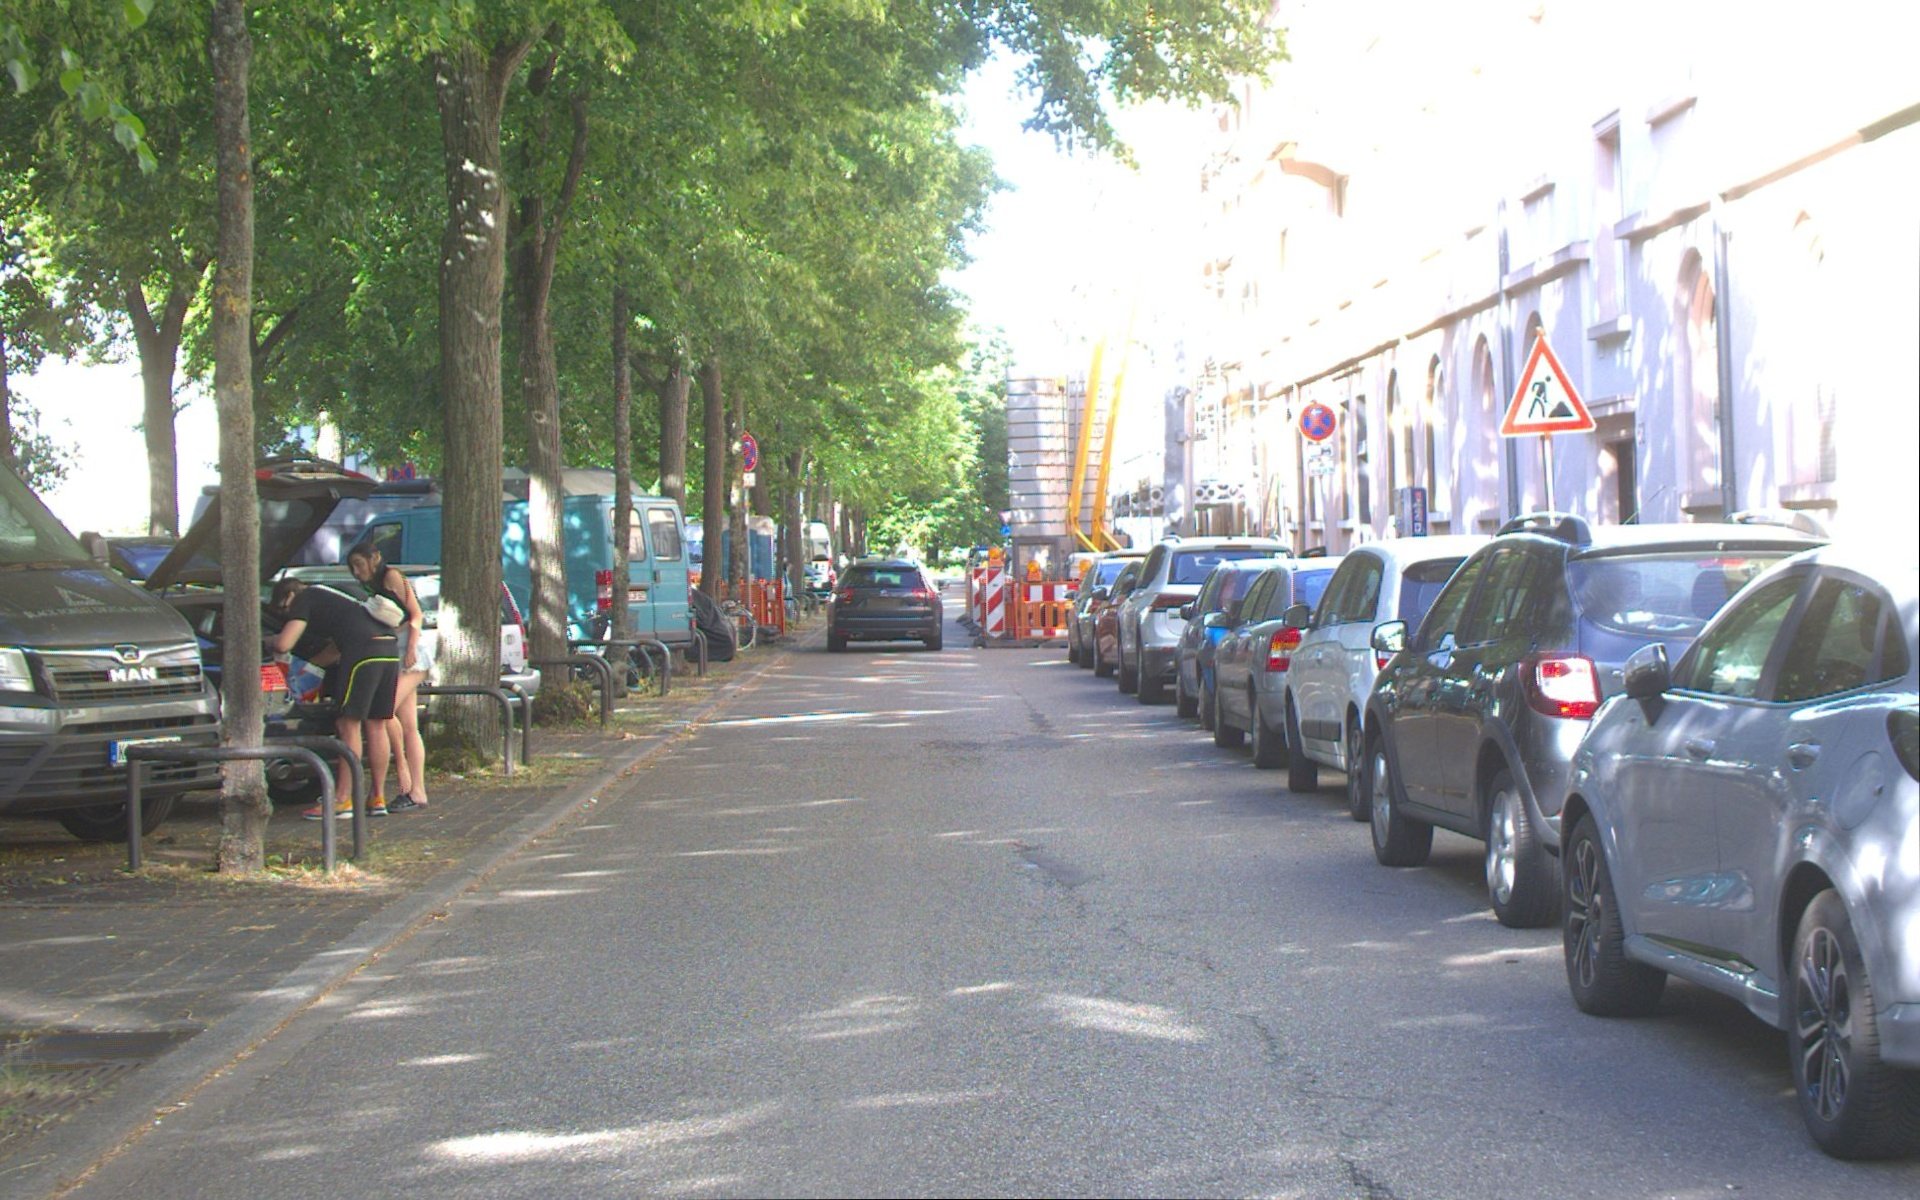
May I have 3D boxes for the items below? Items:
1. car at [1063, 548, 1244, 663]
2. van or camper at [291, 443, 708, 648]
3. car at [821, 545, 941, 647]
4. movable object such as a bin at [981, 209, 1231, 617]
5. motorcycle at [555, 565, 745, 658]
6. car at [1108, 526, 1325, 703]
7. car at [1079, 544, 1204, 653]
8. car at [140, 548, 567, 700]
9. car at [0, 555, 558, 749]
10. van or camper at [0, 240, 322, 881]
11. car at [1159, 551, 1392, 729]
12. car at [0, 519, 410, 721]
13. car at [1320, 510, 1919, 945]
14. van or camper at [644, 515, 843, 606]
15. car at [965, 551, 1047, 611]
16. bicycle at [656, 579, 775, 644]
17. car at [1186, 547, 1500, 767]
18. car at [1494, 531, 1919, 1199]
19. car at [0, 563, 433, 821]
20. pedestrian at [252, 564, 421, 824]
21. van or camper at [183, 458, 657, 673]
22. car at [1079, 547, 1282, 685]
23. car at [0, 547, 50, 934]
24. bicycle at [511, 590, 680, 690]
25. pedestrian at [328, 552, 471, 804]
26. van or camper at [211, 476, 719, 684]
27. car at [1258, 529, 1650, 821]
[{"bbox_3d":[2.489,0.034,45.318,1.993,1.404,4.501,0,1,-2],"label":"car"},{"bbox_3d":[-7.759,-0.894,57.744,6.666,3.229,2.492,-1,1,28],"label":"van or camper"},{"bbox_3d":[-1.265,-0.091,54.596,1.797,1.498,3.586,-2,1,-2],"label":"car"},{"bbox_3d":[2.500,-3.103,58.644,3.485,6.736,2.364,0,1,32],"label":"movable object such as a bin"},{"bbox_3d":[-4.379,0.161,48.598,2.550,1.254,0.762,-1,1,8],"label":"motorcycle"},{"bbox_3d":[2.562,0.097,35.349,1.816,1.668,4.673,-1,1,0],"label":"car"},{"bbox_3d":[2.630,-0.045,50.266,1.591,1.525,2.781,-1,1,-2],"label":"car"},{"bbox_3d":[-6.163,0.235,34.901,3.949,1.438,1.844,-1,1,28],"label":"car"},{"bbox_3d":[-5.563,0.395,27.803,4.482,1.438,1.729,0,1,32],"label":"car"},{"bbox_3d":[-7.074,-0.157,18.293,7.236,2.919,2.311,-1,1,27],"label":"van or camper"},{"bbox_3d":[2.678,0.301,29.859,1.617,1.408,3.788,-1,1,0],"label":"car"},{"bbox_3d":[-7.475,0.171,31.842,4.553,1.758,1.807,0,1,30],"label":"car"},{"bbox_3d":[2.784,0.438,14.922,1.722,1.591,4.159,-1,1,-4],"label":"car"},{"bbox_3d":[-6.267,-1.132,99.427,5.342,2.466,2.290,-1,1,32],"label":"van or camper"},{"bbox_3d":[1.105,-0.482,84.065,1.797,1.380,3.586,-2,1,-2],"label":"car"},{"bbox_3d":[-3.920,0.183,55.050,1.899,1.003,0.430,-1,1,23],"label":"bicycle"},{"bbox_3d":[2.663,0.345,24.708,1.630,1.408,4.089,-1,1,-2],"label":"car"},{"bbox_3d":[2.790,0.572,9.672,1.722,1.523,4.159,-1,1,-3],"label":"car"},{"bbox_3d":[-5.494,0.526,20.943,4.321,1.419,1.673,-1,1,26],"label":"car"},{"bbox_3d":[-3.559,0.528,19.646,0.710,1.451,0.596,-1,1,23],"label":"pedestrian"},{"bbox_3d":[-7.044,-0.427,44.644,5.877,2.628,2.252,-1,1,29],"label":"van or camper"},{"bbox_3d":[2.560,0.151,40.748,1.790,1.518,3.964,-1,1,-5],"label":"car"},{"bbox_3d":[-5.803,0.598,13.811,3.993,1.502,1.755,-1,1,28],"label":"car"},{"bbox_3d":[-3.889,0.419,36.733,1.719,1.002,0.511,-2,1,-30],"label":"bicycle"},{"bbox_3d":[-3.293,0.451,20.206,0.615,1.451,0.519,-1,1,23],"label":"pedestrian"},{"bbox_3d":[-5.823,-0.226,40.400,5.504,2.267,2.218,-1,1,23],"label":"van or camper"},{"bbox_3d":[2.792,0.368,20.117,1.630,1.529,3.593,-1,1,-2],"label":"car"}]
